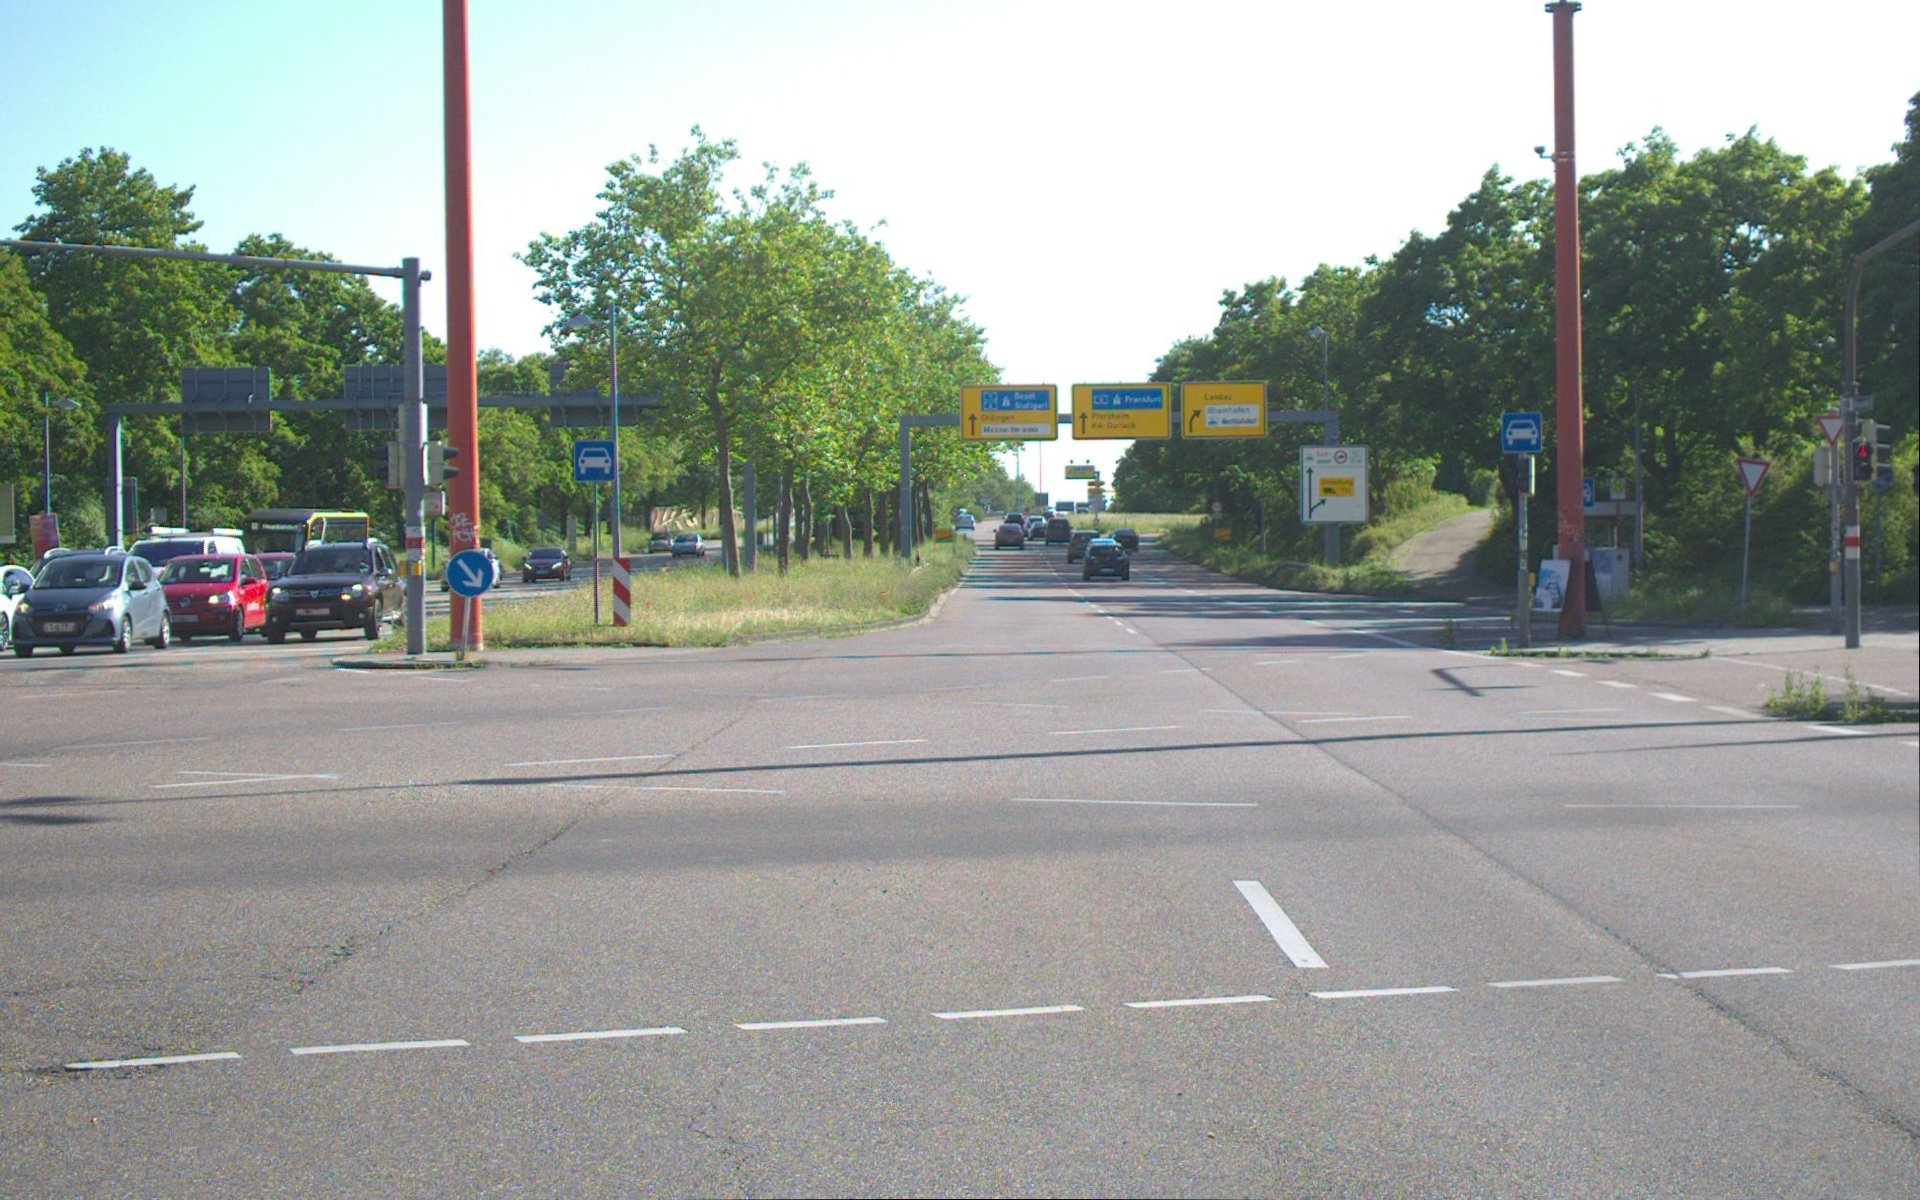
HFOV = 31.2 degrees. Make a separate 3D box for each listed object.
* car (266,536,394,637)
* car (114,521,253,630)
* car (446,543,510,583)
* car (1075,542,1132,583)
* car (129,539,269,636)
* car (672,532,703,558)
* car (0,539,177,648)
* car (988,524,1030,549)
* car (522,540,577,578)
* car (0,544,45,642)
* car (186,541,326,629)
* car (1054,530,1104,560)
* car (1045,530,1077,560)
[{"bbox_3d":[-10.243,-0.247,56.153,1.876,1.568,4.122,-1,1,-8],"label":"car"},{"bbox_3d":[-16.110,-0.530,71.513,2.062,2.185,4.379,-1,1,-2],"label":"car"},{"bbox_3d":[-18.131,-1.400,129.329,1.884,1.449,3.656,-1,1,0],"label":"car"},{"bbox_3d":[5.595,-1.495,134.711,2.159,1.568,4.281,-1,1,1],"label":"car"},{"bbox_3d":[-12.895,-0.237,58.473,1.993,1.568,4.122,-1,1,-8],"label":"car"},{"bbox_3d":[-16.913,-3.422,213.284,1.876,1.568,3.948,-1,1,-5],"label":"car"},{"bbox_3d":[-13.249,-0.134,52.172,1.993,1.568,4.121,-1,1,-3],"label":"car"},{"bbox_3d":[3.105,-4.047,218.198,2.245,1.568,4.282,-1,1,-5],"label":"car"},{"bbox_3d":[-17.669,-1.781,148.010,1.993,1.568,4.121,-1,1,-2],"label":"car"},{"bbox_3d":[-16.485,-0.119,57.041,1.993,1.568,4.122,-2,1,-8],"label":"car"},{"bbox_3d":[-13.112,-0.298,64.252,1.993,1.568,4.121,-1,1,-4],"label":"car"},{"bbox_3d":[6.171,-2.858,178.678,2.158,1.568,4.281,-1,1,-4],"label":"car"},{"bbox_3d":[6.877,-3.730,233.663,1.993,2.007,4.000,-1,1,-1],"label":"car"}]
